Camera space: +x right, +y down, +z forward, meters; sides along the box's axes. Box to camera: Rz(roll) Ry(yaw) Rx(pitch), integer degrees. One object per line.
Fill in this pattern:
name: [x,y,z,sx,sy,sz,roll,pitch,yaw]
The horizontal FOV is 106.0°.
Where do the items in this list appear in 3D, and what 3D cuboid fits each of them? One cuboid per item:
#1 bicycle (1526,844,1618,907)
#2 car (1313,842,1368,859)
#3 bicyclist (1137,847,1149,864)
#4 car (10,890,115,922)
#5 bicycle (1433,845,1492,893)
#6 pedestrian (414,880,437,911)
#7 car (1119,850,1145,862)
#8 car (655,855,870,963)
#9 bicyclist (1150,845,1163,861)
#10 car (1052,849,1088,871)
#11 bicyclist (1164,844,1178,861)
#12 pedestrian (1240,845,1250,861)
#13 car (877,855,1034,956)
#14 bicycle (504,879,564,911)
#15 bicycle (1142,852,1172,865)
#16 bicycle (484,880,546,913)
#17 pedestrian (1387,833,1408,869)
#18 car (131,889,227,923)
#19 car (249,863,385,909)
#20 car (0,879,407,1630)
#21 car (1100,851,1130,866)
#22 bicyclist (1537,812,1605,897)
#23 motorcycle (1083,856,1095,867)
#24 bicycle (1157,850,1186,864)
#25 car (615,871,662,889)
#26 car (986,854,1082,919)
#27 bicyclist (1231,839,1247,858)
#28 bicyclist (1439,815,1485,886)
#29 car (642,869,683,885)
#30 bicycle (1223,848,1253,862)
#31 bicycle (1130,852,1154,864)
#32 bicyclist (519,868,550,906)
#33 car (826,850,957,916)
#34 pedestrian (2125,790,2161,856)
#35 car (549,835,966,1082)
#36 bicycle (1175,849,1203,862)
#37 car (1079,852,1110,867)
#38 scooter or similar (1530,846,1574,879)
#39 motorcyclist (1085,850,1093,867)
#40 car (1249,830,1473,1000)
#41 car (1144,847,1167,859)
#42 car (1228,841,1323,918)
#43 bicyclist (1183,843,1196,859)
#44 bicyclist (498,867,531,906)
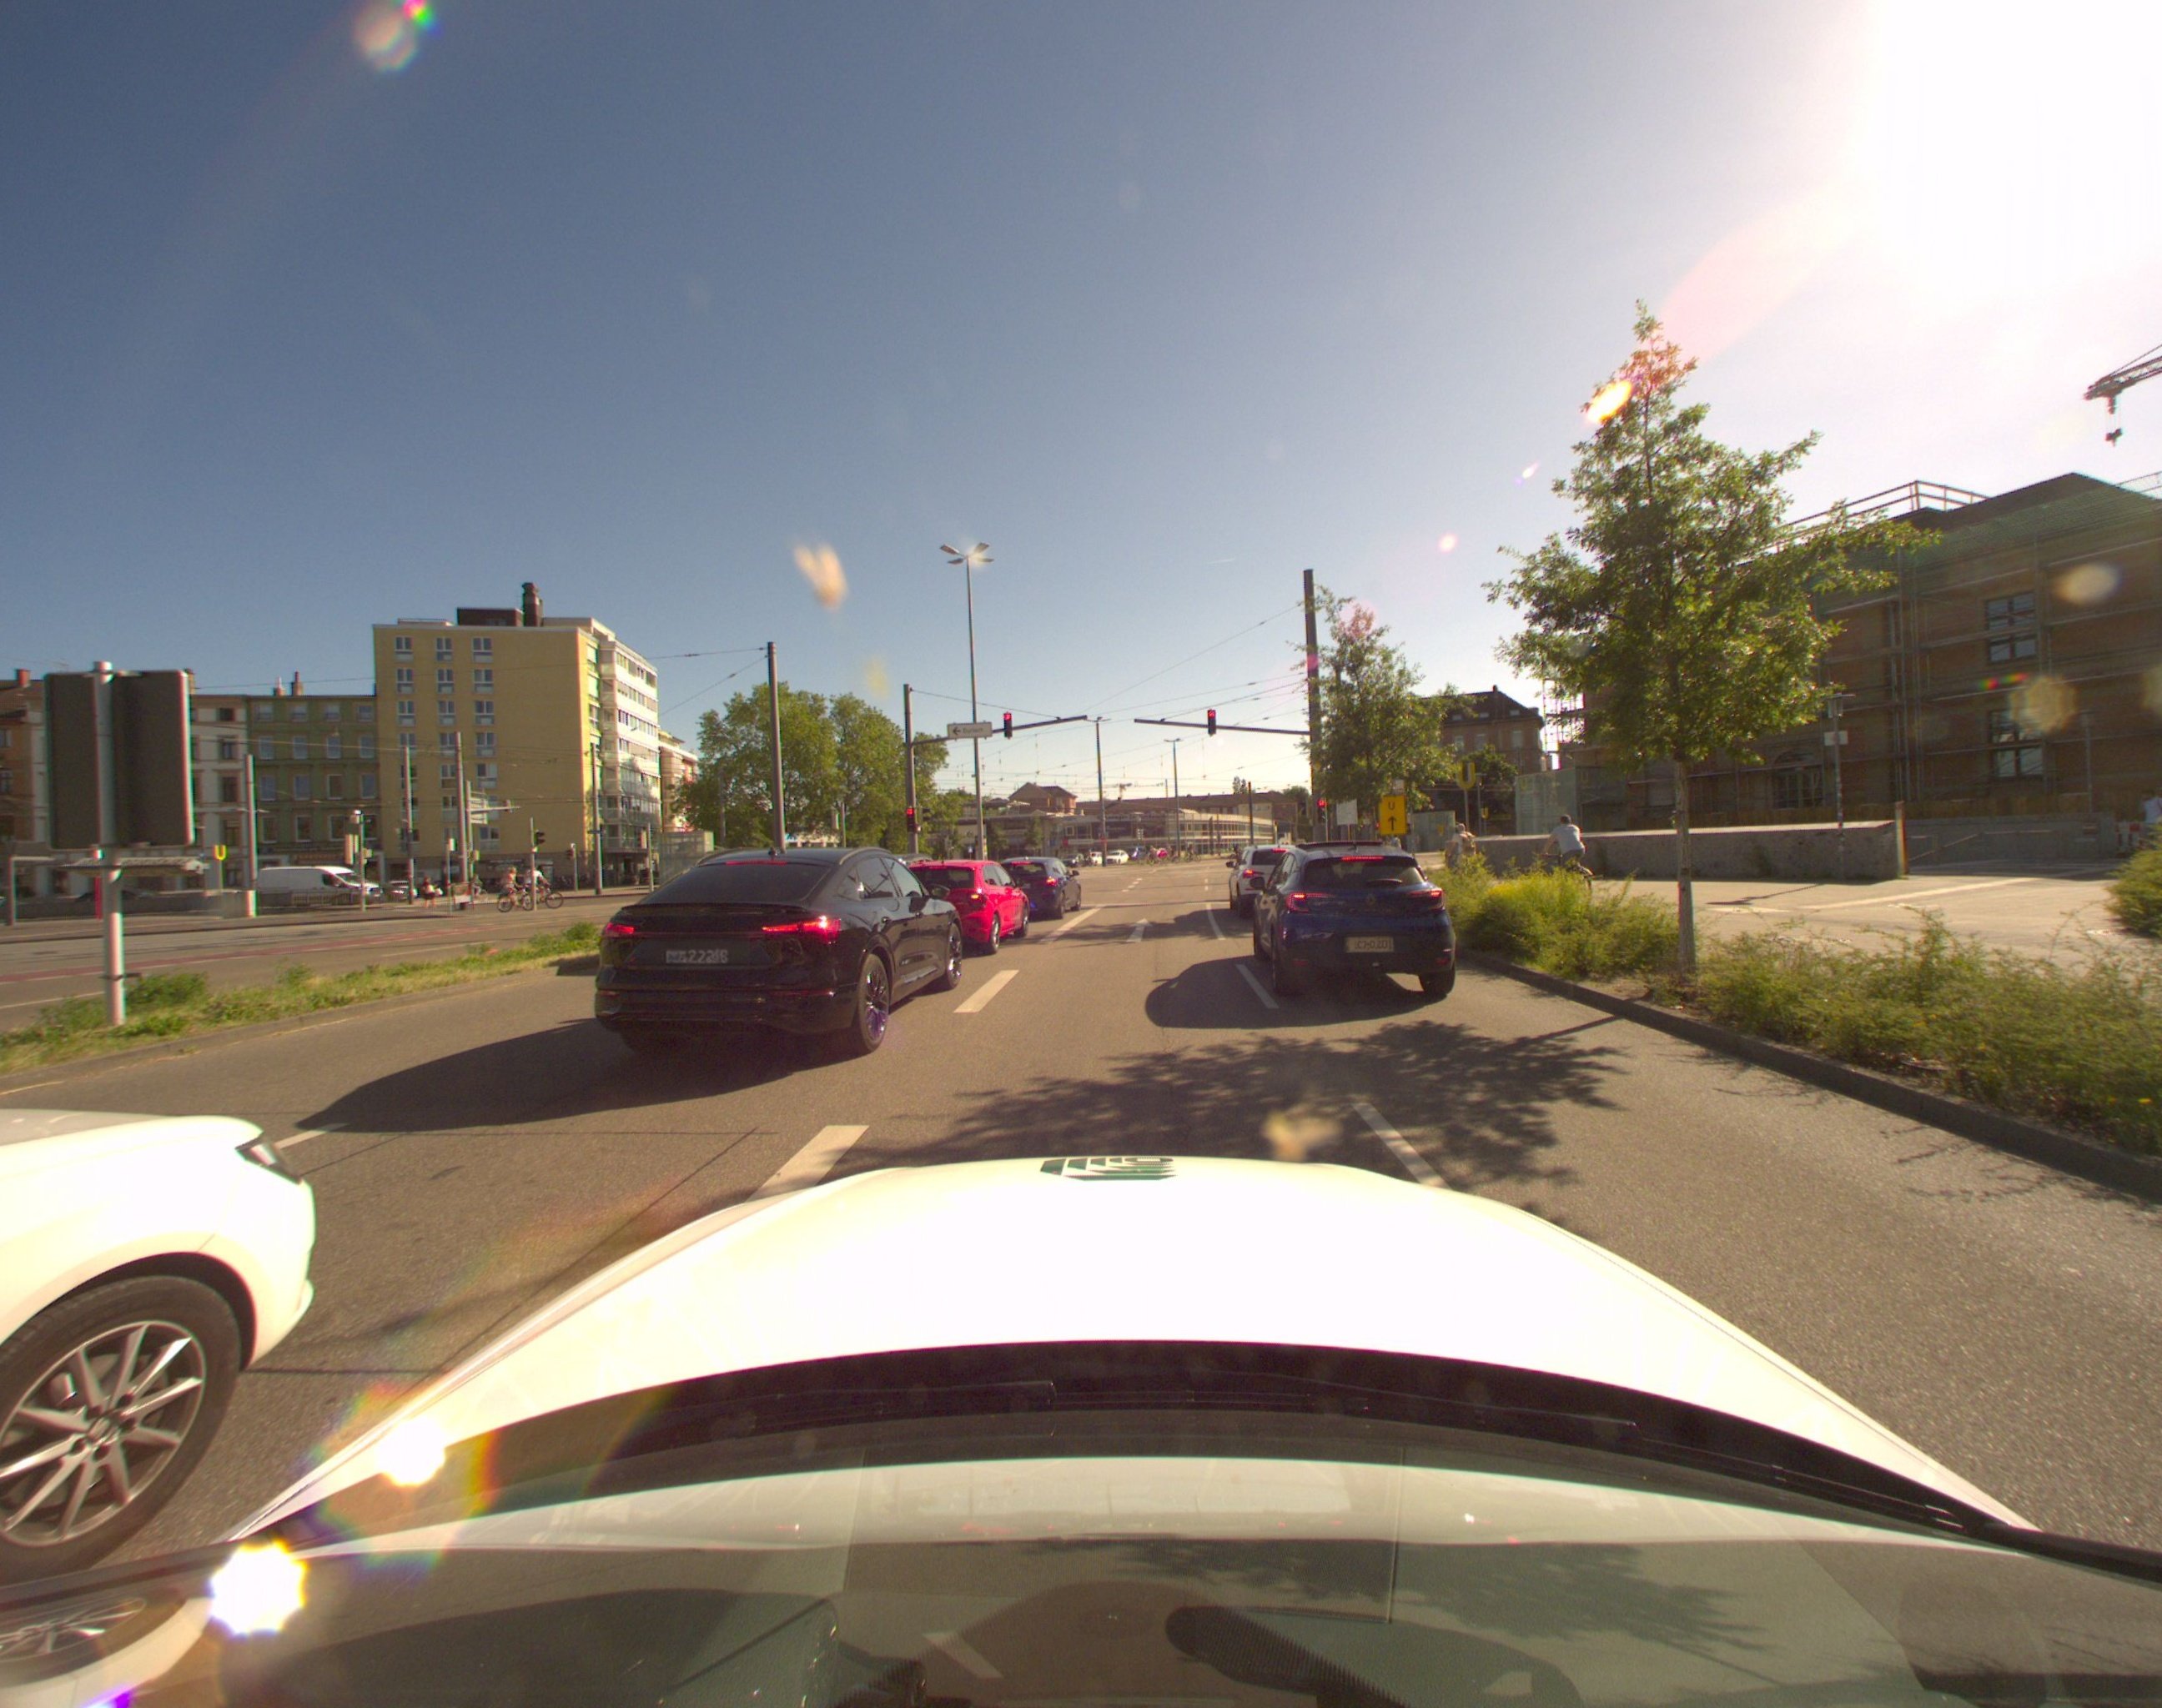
bicycle: [9.778,0.402,16.315,0.713,1.165,1.871,-2,0,1]
car: [22.759,-0.295,71.343,4.366,1.442,1.723,0,0,-14]
bicyclist: [5.940,0.113,78.317,0.986,1.604,0.756,-2,0,-10]
car: [-68.617,3.490,54.949,3.987,1.771,1.994,-2,2,-10]
bicycle: [9.825,0.366,21.025,0.742,1.165,1.873,-2,0,5]
pedestrian: [-31.701,2.007,39.393,0.593,1.408,0.567,-2,2,-10]
car: [6.256,0.195,99.529,1.709,1.442,4.208,0,0,24]
car: [-4.979,0.784,13.347,1.717,1.442,3.804,-2,0,5]
bicyclist: [7.081,-0.089,76.455,0.963,1.449,0.965,-2,0,-12]
car: [-1.054,0.626,82.159,1.975,2.013,4.024,-1,2,25]
bicyclist: [8.756,-0.147,79.483,1.063,1.584,0.944,-2,2,-11]
pedestrian: [17.253,-0.072,85.643,0.855,1.610,0.696,-3,2,-34]
car: [-1.939,0.744,13.711,1.663,1.442,3.729,0,0,7]
bicycle: [-21.695,1.617,32.304,1.942,1.165,0.644,-2,0,4]
bicycle: [7.115,0.430,76.448,2.645,1.095,0.965,-2,0,-13]
bicycle: [-21.652,1.630,31.180,1.942,1.165,0.644,-2,0,4]
pedestrian: [15.409,-0.128,39.649,0.588,1.723,0.876,-4,-3,42]
car: [-62.724,3.612,56.705,3.987,2.013,1.994,-2,2,-10]
car: [-44.854,1.862,47.942,5.490,2.411,1.992,-2,0,-12]
car: [-2.973,0.804,0.664,1.685,1.436,3.737,-1,0,1]
car: [3.607,0.474,85.757,1.709,1.442,4.208,-2,0,24]
bicyclist: [9.768,0.011,16.270,0.717,1.617,0.978,-2,0,2]
motorcycle: [0.832,0.735,81.541,0.557,1.094,1.845,-2,0,21]
bicycle: [8.792,0.281,79.489,2.648,1.188,0.944,-2,2,-12]
car: [-40.603,2.394,74.780,3.437,1.510,1.685,-2,0,-14]
car: [-1.051,0.727,20.172,1.716,1.442,3.806,0,0,7]
bicyclist: [15.016,-0.525,77.582,1.187,1.776,0.941,-2,2,-19]
bicyclist: [9.805,-0.092,21.000,0.716,1.762,0.979,-2,0,5]
car: [-40.695,2.259,79.244,3.267,1.316,1.518,-2,2,-15]
bicycle: [14.978,0.094,77.595,2.654,1.188,0.941,-2,2,-19]
bicycle: [5.878,0.410,78.300,2.178,1.095,0.756,-2,0,-10]
bicyclist: [-21.667,1.310,32.304,0.771,1.444,0.644,-2,0,4]
car: [-4.540,0.636,20.115,1.714,1.442,3.921,0,0,10]
pedestrian: [28.753,-0.835,21.831,0.782,1.752,0.539,-1,2,6]
car: [-2.482,0.701,7.636,1.976,1.624,4.380,-1,0,2]
bicycle: [10.872,0.194,82.063,2.648,1.188,0.944,-2,2,-12]
car: [1.482,0.557,88.234,1.709,1.442,4.208,-2,0,24]
scooter or similar: [15.168,0.253,26.235,0.468,1.012,1.243,-2,2,-15]
motorcyclist: [0.802,0.456,81.479,0.545,1.621,0.748,-2,0,20]
car: [3.070,0.594,9.736,1.866,1.617,3.807,-1,0,9]
car: [9.780,-0.126,106.596,1.709,1.442,4.208,0,0,24]
car: [4.458,0.550,19.131,1.866,1.617,3.634,-1,0,9]
bicyclist: [10.953,-0.300,82.077,1.063,1.584,0.944,-2,2,-11]
bicyclist: [-21.686,1.228,31.184,0.770,1.444,0.644,-2,0,5]
